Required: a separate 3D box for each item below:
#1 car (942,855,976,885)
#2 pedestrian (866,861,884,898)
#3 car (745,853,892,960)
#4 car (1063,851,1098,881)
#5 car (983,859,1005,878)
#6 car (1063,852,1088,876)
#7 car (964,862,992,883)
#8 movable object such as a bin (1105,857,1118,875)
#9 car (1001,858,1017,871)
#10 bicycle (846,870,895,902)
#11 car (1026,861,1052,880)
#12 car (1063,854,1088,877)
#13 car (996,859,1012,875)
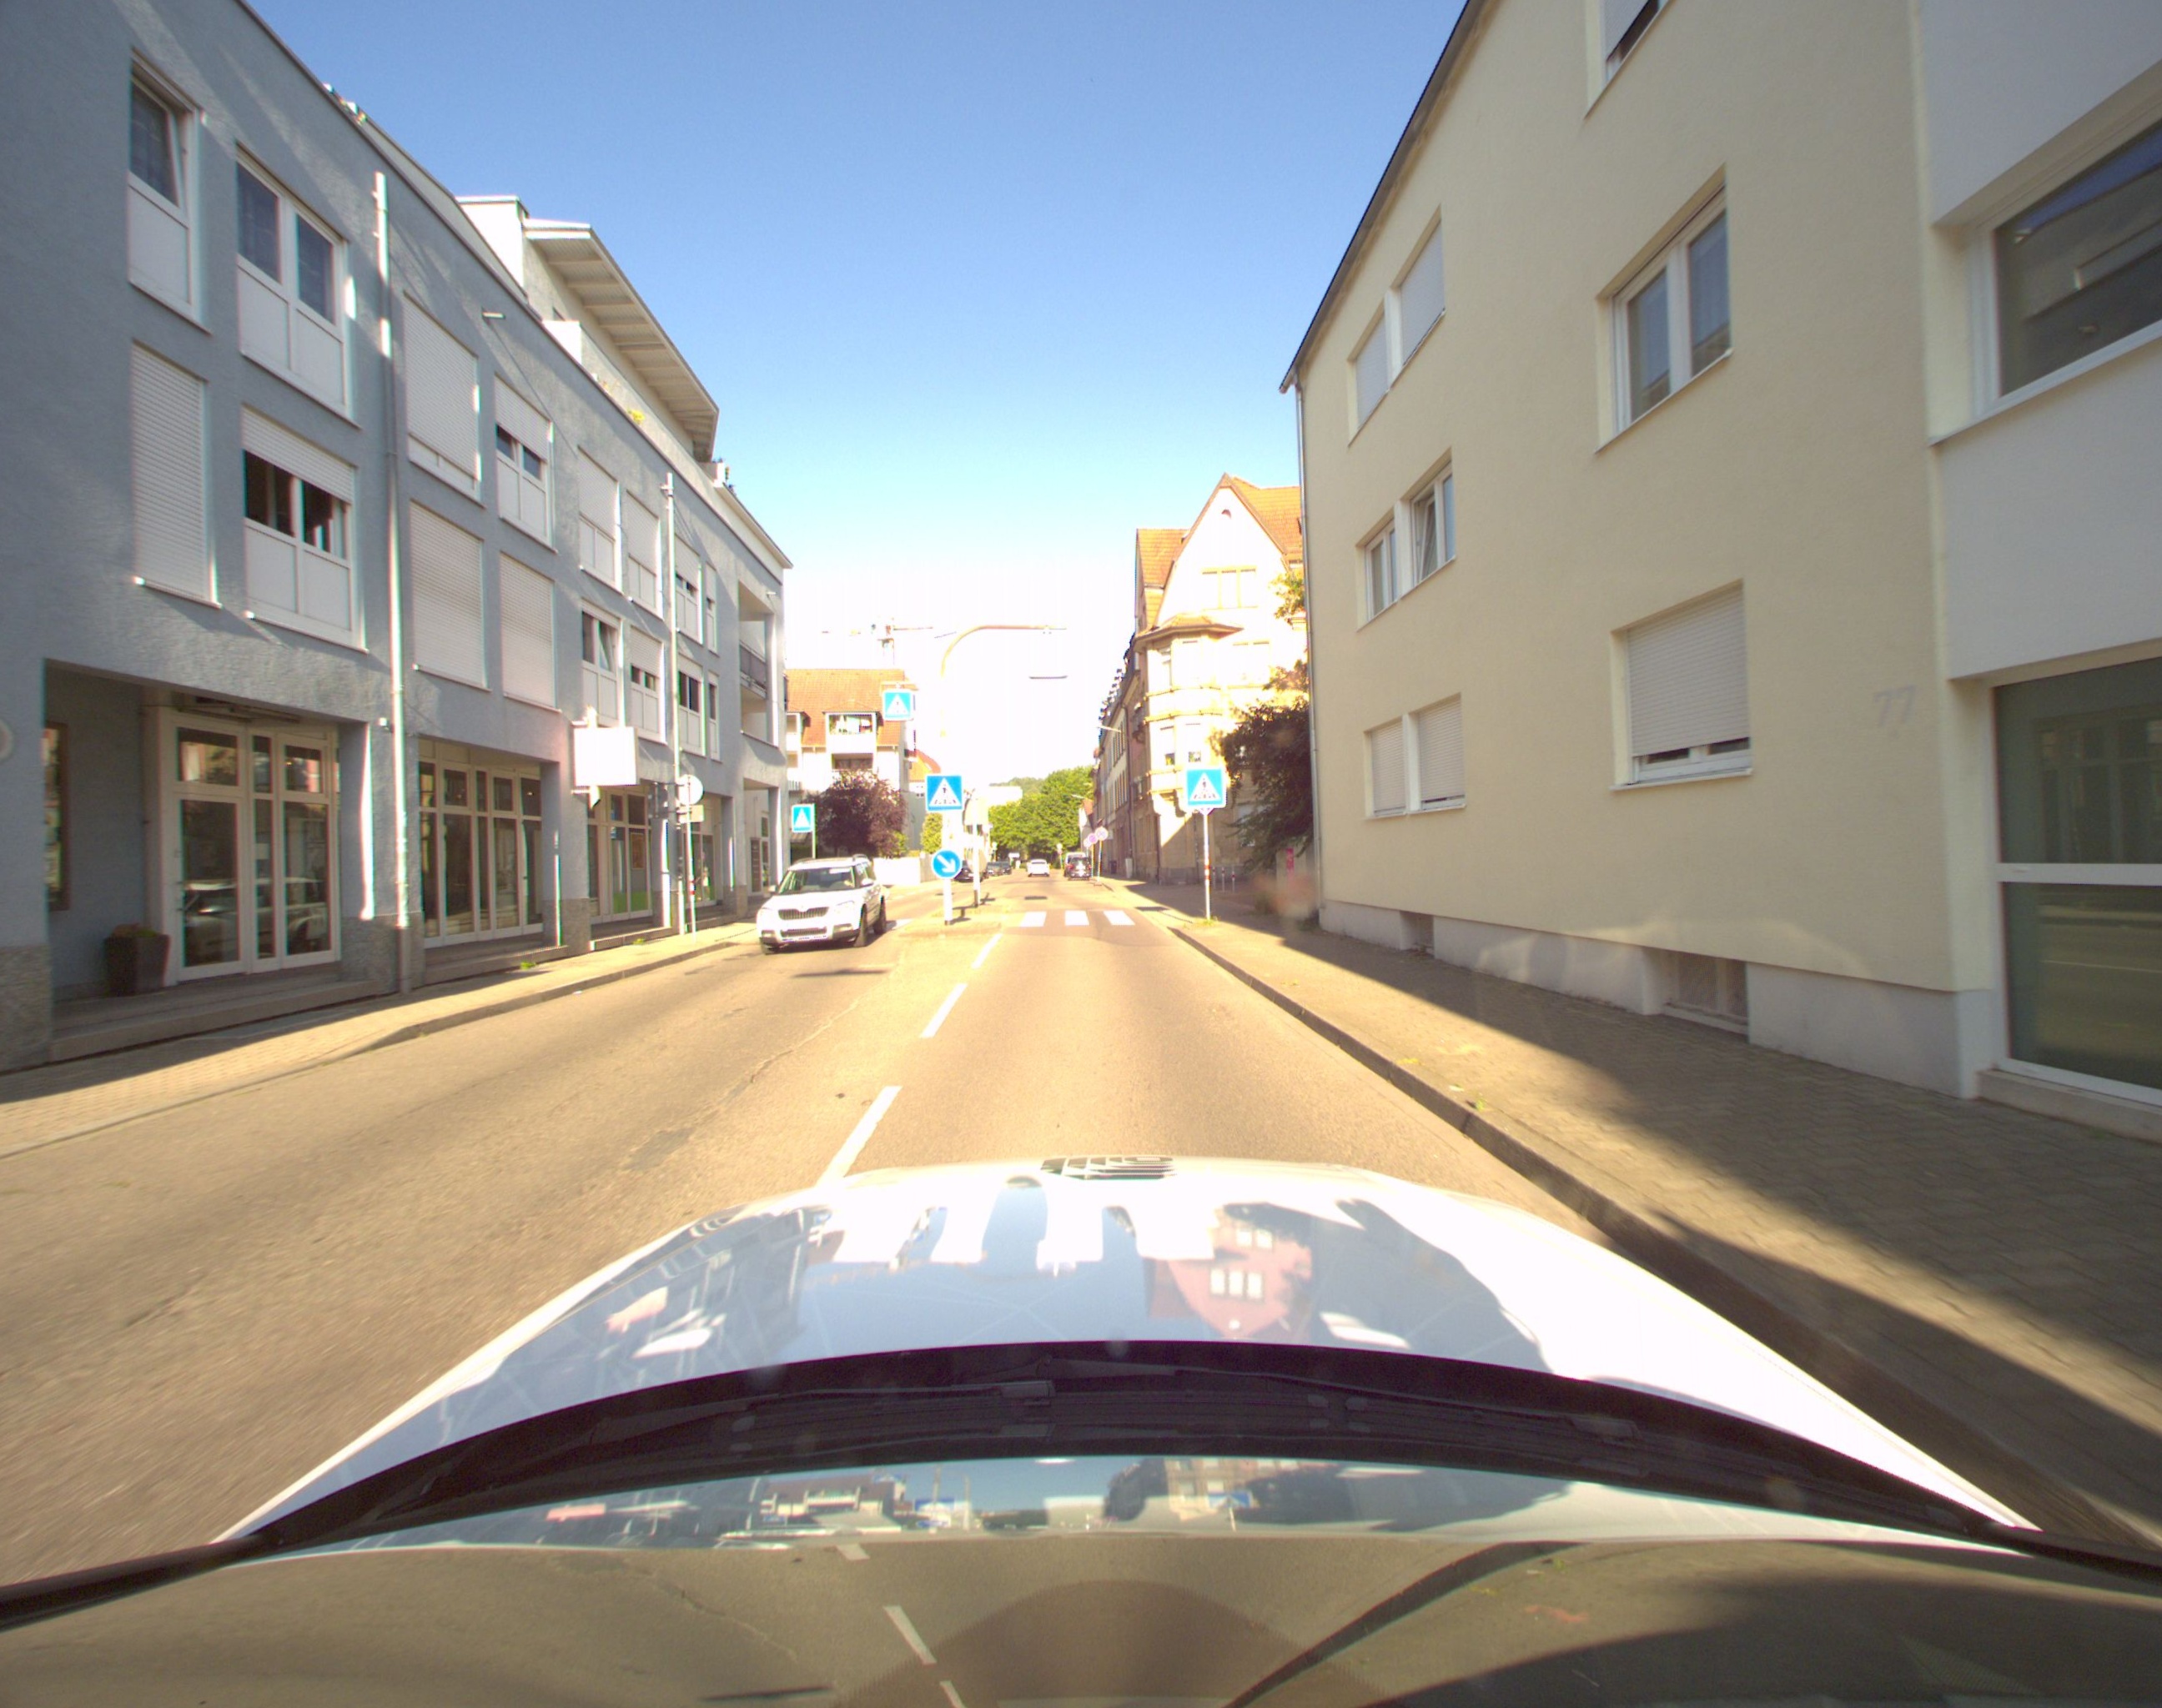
[{"bbox_3d":[-8.578,1.113,57.655,1.990,2.013,3.994,-2,0,-4],"label":"car"},{"bbox_3d":[-8.416,1.027,33.309,0.556,1.472,0.600,-3,0,-6],"label":"pedestrian"},{"bbox_3d":[-4.885,0.886,15.757,1.805,1.701,4.183,-3,0,-6],"label":"car"},{"bbox_3d":[-0.084,0.765,53.509,2.007,1.853,3.995,-1,0,-4],"label":"car"},{"bbox_3d":[-9.030,1.531,84.656,1.906,1.760,4.123,-3,0,-3],"label":"car"},{"bbox_3d":[-0.535,0.845,69.777,1.837,1.905,3.995,-3,0,-3],"label":"car"},{"bbox_3d":[-8.876,1.555,70.308,2.088,1.630,3.817,-3,0,-4],"label":"car"},{"bbox_3d":[2.381,0.947,64.466,0.870,1.377,0.684,-4,1,-5],"label":"movable object such as a bin"},{"bbox_3d":[-12.060,1.729,135.659,1.996,2.013,3.982,-2,0,-13],"label":"car"},{"bbox_3d":[-8.510,1.296,32.925,1.782,1.184,0.598,-3,0,-2],"label":"bicycle"},{"bbox_3d":[-3.506,1.338,67.303,1.990,1.466,3.993,-3,0,-5],"label":"car"},{"bbox_3d":[-0.400,0.867,64.785,1.812,1.630,4.000,-3,0,0],"label":"car"},{"bbox_3d":[-8.849,1.460,93.580,1.627,1.630,3.170,-3,0,-4],"label":"car"}]
